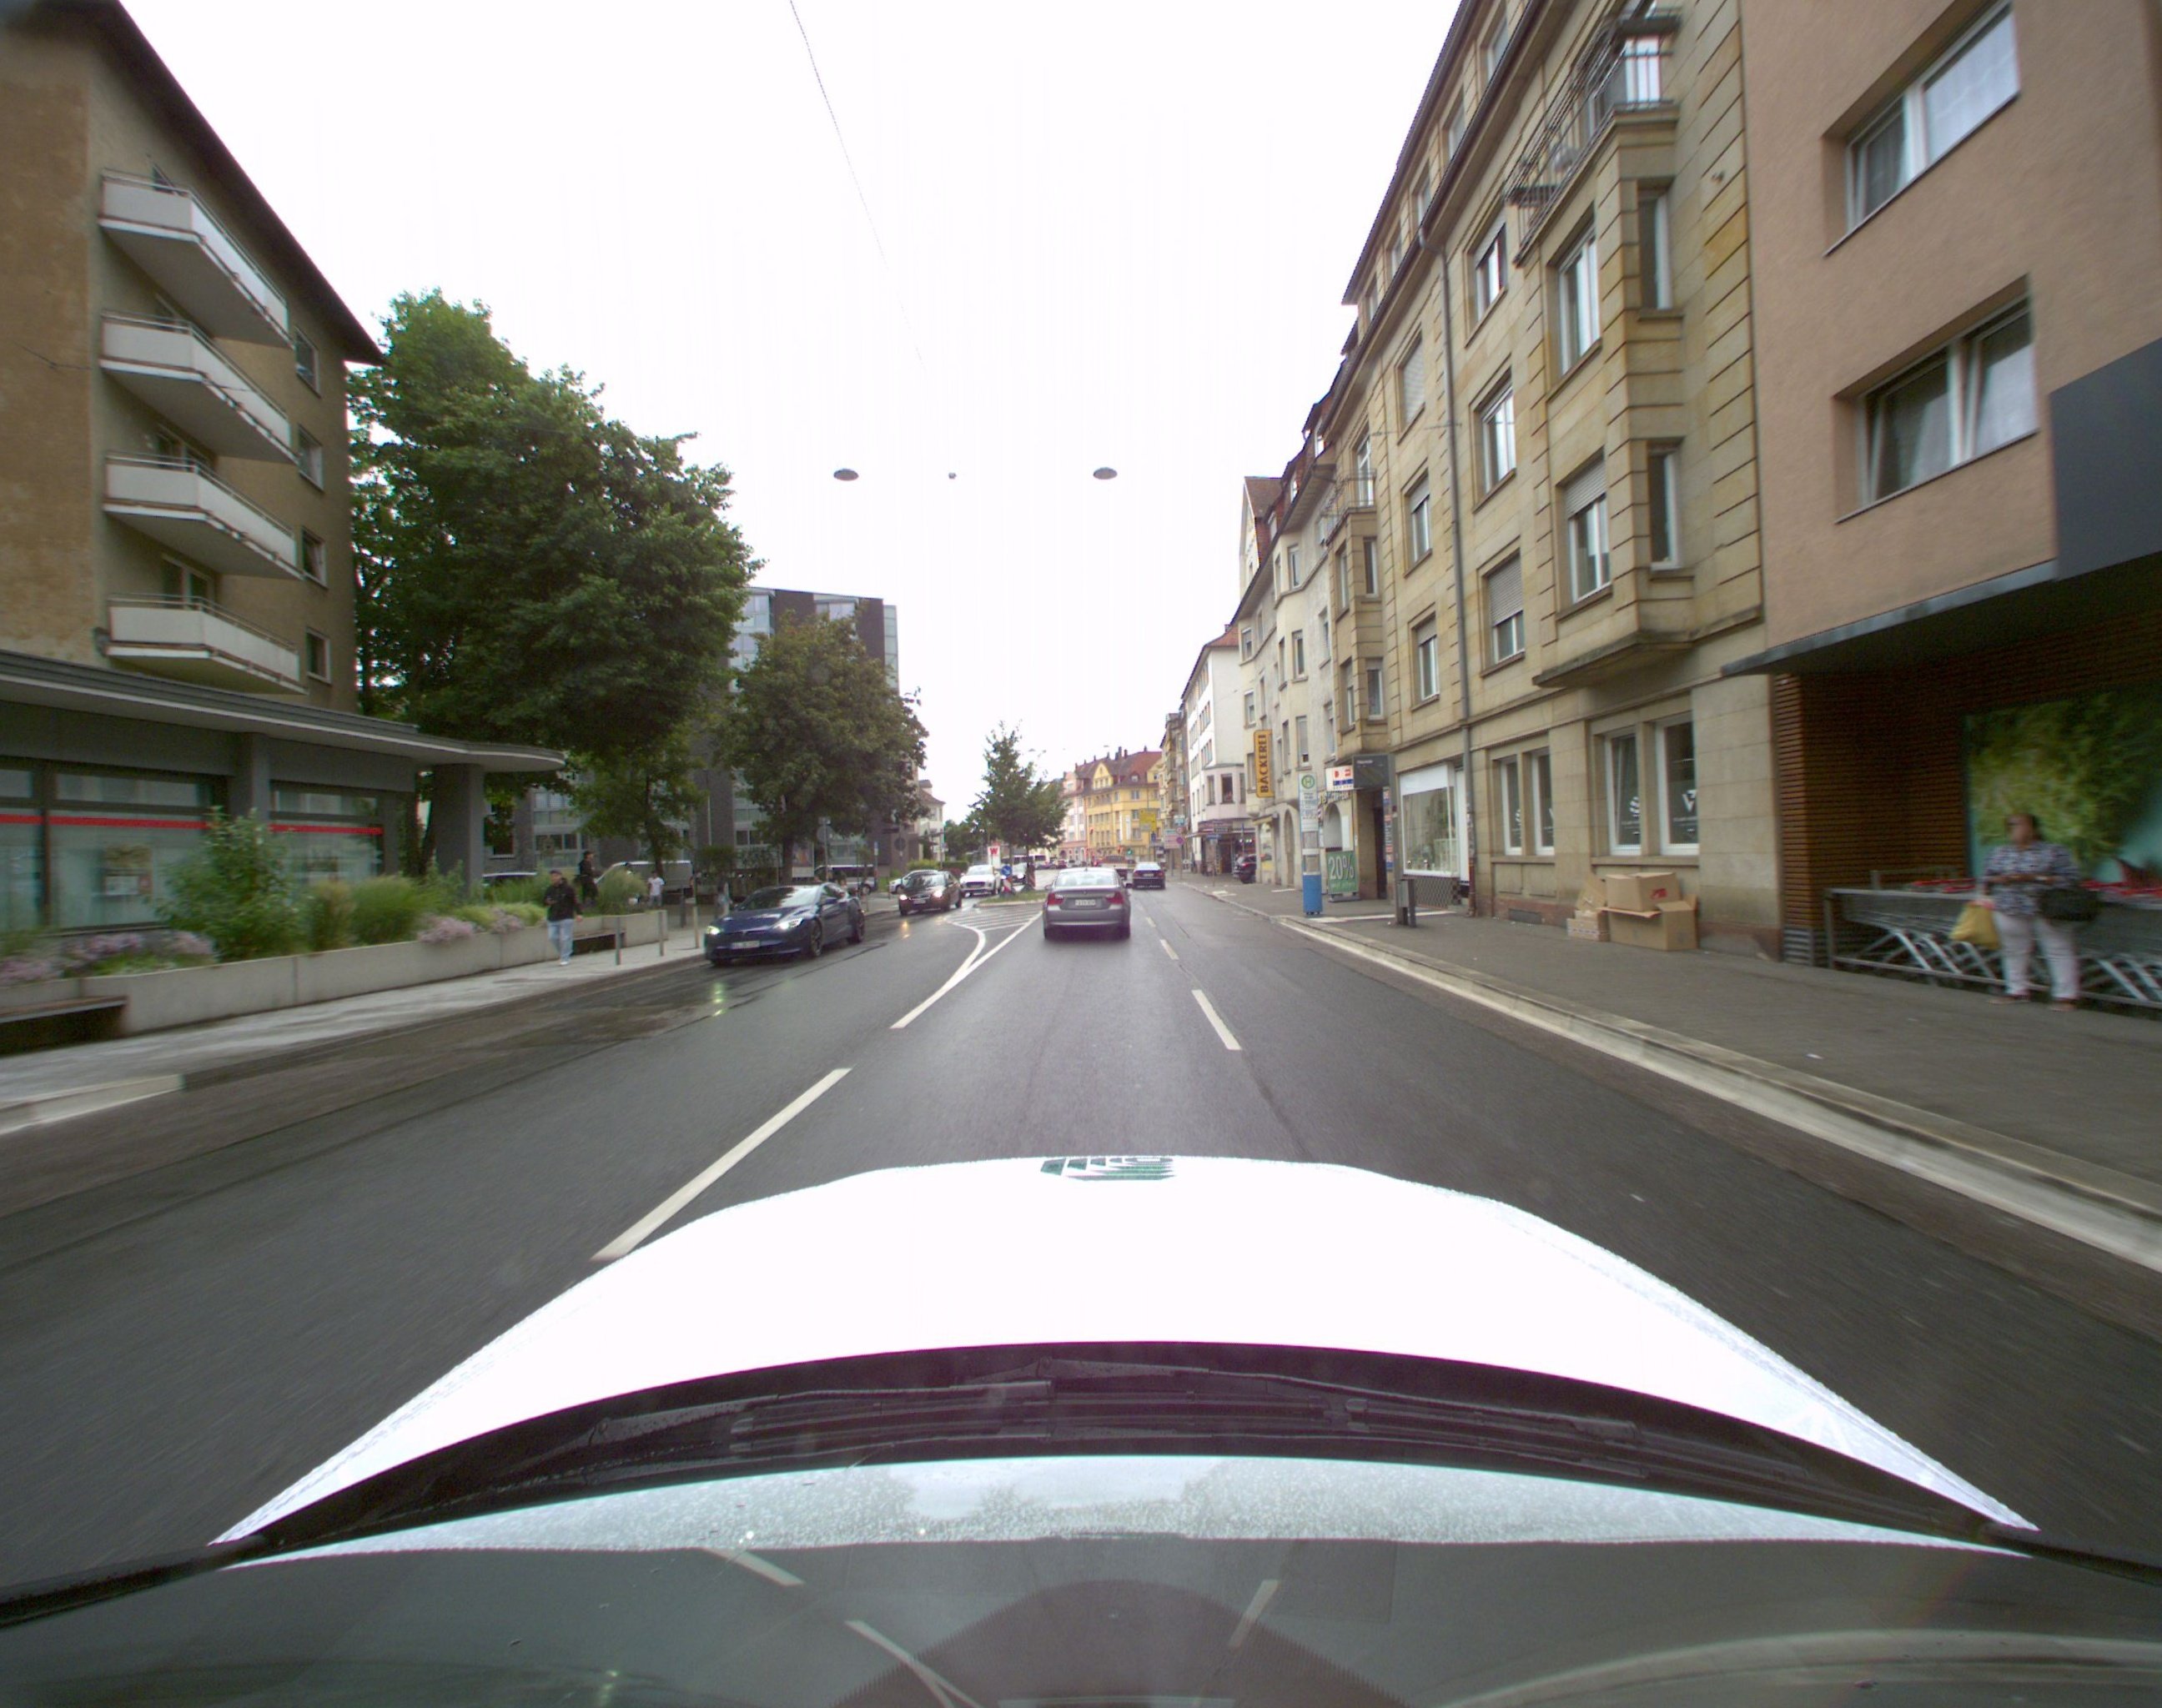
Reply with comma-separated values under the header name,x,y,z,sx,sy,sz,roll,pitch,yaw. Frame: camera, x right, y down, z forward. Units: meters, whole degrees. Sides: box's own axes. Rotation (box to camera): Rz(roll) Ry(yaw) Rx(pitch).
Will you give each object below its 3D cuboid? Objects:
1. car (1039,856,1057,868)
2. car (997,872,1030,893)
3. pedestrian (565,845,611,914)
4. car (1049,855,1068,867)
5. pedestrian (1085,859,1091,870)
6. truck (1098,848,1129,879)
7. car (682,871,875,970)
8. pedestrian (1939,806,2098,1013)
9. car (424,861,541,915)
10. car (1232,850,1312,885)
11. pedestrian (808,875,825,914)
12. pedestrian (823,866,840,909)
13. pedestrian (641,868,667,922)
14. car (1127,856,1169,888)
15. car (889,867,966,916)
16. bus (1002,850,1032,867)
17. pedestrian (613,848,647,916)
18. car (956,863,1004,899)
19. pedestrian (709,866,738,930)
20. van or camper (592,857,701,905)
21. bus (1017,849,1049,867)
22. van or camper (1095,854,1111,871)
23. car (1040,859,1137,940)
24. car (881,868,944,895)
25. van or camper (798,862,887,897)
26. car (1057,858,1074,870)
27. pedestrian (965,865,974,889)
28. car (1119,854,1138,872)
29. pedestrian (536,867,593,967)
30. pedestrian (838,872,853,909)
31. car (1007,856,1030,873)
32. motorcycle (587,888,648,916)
name,x,y,z,sx,sy,sz,roll,pitch,yaw
car,-5.862,1.406,144.754,2.000,2.013,3.973,-2,0,-20
car,-5.066,2.126,61.525,2.006,1.426,4.501,0,0,2
pedestrian,-13.587,0.690,22.473,0.860,1.844,0.691,-2,-1,-13
car,-3.902,1.199,139.046,2.000,2.013,3.974,-2,0,-19
pedestrian,1.001,1.490,116.623,0.763,1.529,0.505,0,-2,-19
truck,2.405,0.696,61.389,2.216,2.249,5.064,-1,0,1
car,-5.885,1.216,16.619,1.948,1.512,4.913,-3,0,1
pedestrian,7.556,0.419,6.587,0.562,1.573,0.624,-2,-1,-15
car,-27.624,1.531,37.748,4.008,2.255,1.983,-2,0,-27
car,10.523,0.747,45.125,4.115,1.772,1.877,-1,0,7
pedestrian,-10.315,1.562,31.756,0.458,1.473,0.530,-2,-1,-2
pedestrian,-9.734,1.298,31.771,0.496,1.673,0.552,-2,-1,-2
pedestrian,-14.643,1.391,27.953,0.725,1.826,0.716,-1,0,-26
car,3.419,0.922,42.308,1.794,1.563,3.999,-1,-1,0
car,-5.589,1.323,30.207,1.949,1.557,4.243,-3,0,0
bus,-12.699,0.963,160.739,2.922,3.105,8.801,-2,0,-24
pedestrian,-12.010,0.744,21.717,0.657,1.759,0.716,-2,-1,-22
car,-5.197,1.352,42.327,1.813,1.569,4.089,-5,0,0
pedestrian,-10.632,1.284,24.236,0.724,1.826,0.848,-1,0,-21
van or camper,-21.522,1.276,40.531,4.629,2.266,2.192,0,0,-28
bus,-9.030,0.857,152.550,2.922,3.105,9.069,-2,0,-24
van or camper,2.765,1.092,103.692,1.849,2.146,4.140,0,0,-1
car,0.164,0.876,17.549,1.793,1.464,4.371,-1,-1,1
car,-10.830,1.742,52.382,3.601,1.569,1.723,-1,0,-32
van or camper,-14.765,1.545,50.391,4.980,2.014,1.982,-1,-1,-28
car,-2.913,1.883,152.845,1.770,2.180,3.968,1,-1,-24
pedestrian,-8.354,1.719,61.257,0.573,1.762,0.580,-2,-1,-5
car,5.595,1.018,96.489,1.986,2.014,4.000,-2,-1,1
pedestrian,-9.834,1.178,15.537,0.723,1.826,0.718,-1,0,-17
pedestrian,-9.171,1.415,31.678,0.432,1.410,0.481,-2,-1,-2
car,-6.420,1.071,83.459,1.949,1.659,4.041,1,0,-11
motorcycle,-17.657,1.816,31.039,2.036,0.987,0.800,1,0,16
